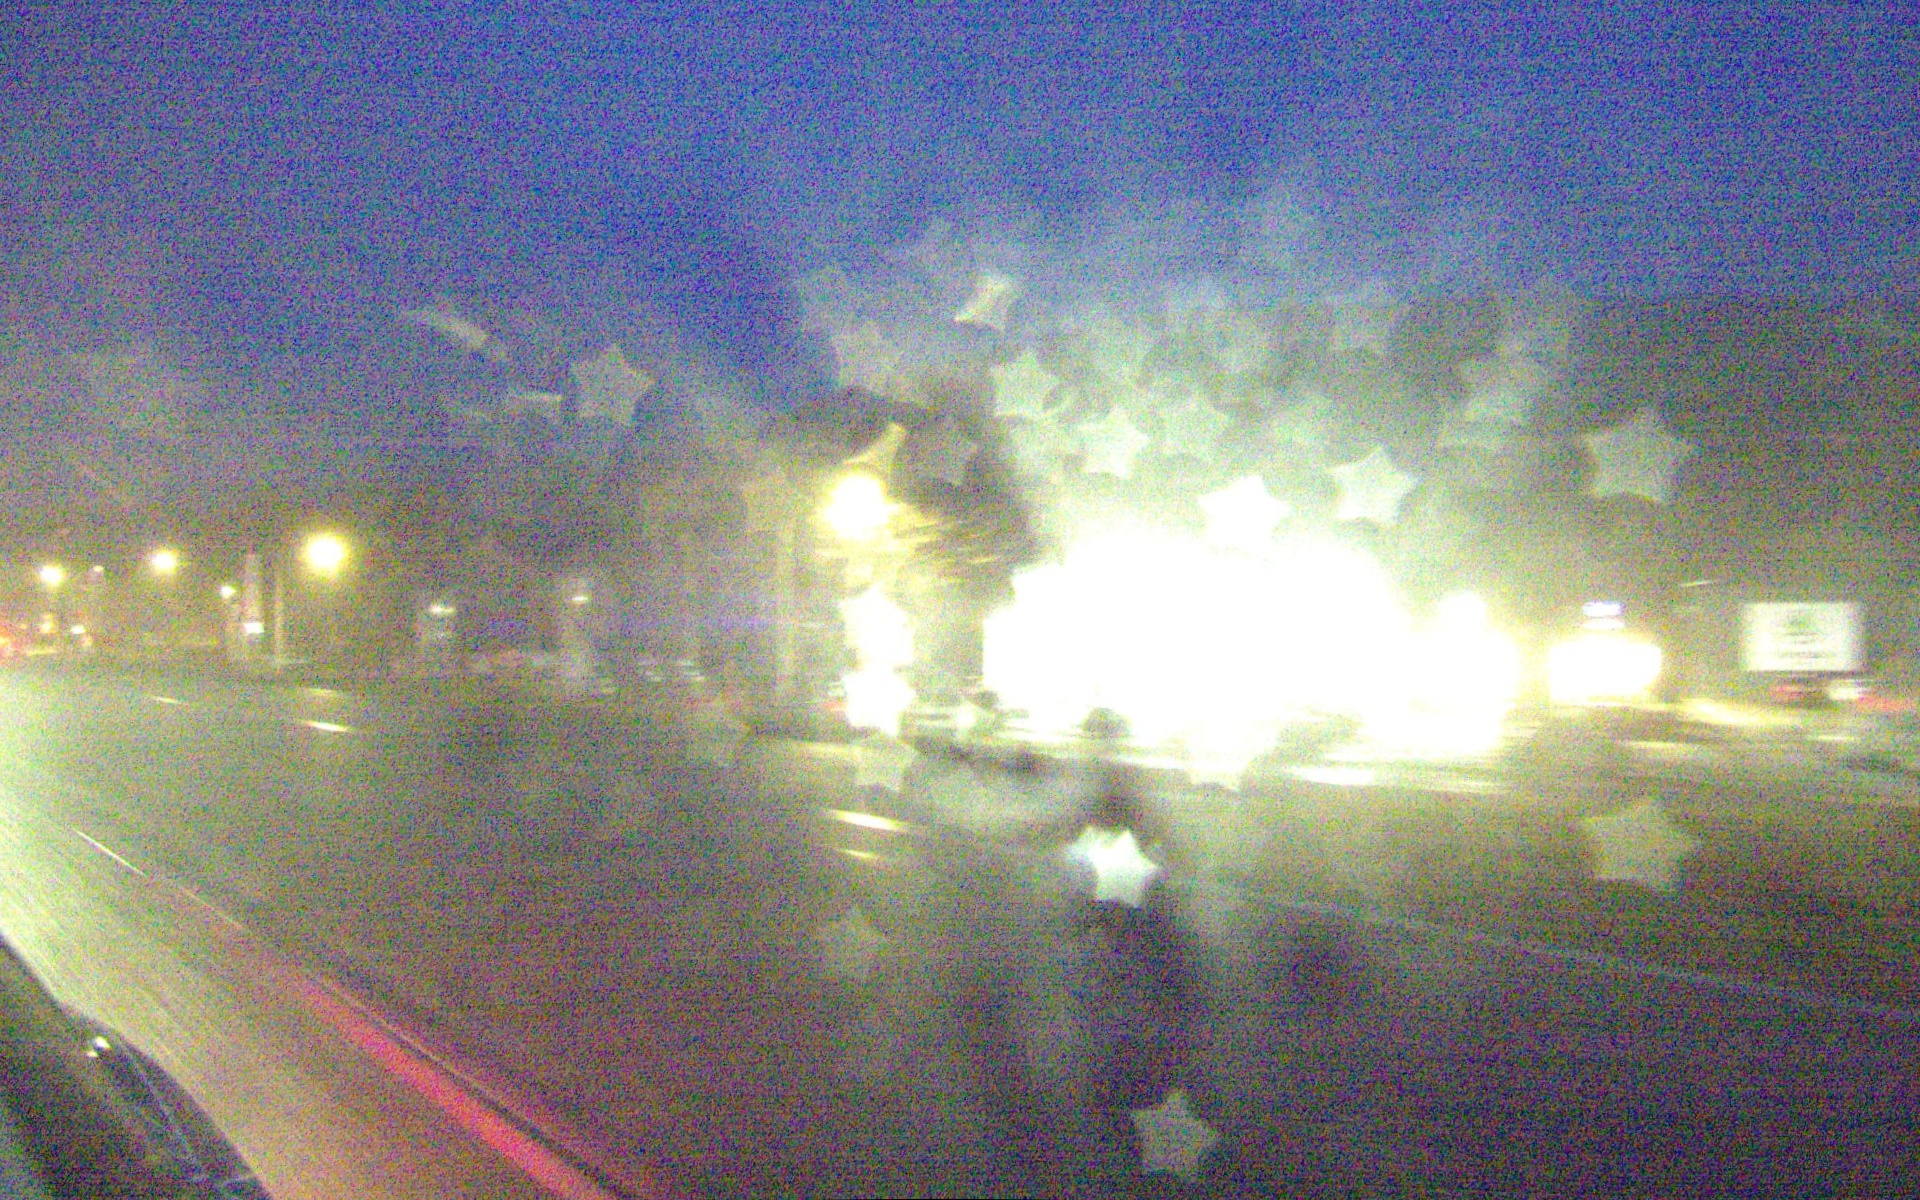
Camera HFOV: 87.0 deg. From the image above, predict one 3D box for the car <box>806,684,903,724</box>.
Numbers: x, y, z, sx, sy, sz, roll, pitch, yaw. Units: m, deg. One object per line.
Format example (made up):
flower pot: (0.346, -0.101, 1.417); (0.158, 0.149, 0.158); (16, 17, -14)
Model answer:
car: (-4.366, 4.367, 42.466); (1.907, 1.466, 3.953); (0, -6, 34)

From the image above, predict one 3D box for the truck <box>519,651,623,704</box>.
truck: (-26.224, 5.183, 68.101); (7.022, 3.121, 2.418); (0, -6, 30)

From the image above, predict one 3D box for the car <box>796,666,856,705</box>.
car: (-6.846, 4.372, 52.123); (1.978, 1.652, 3.988); (-1, -1, 9)

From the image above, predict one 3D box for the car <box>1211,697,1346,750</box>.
car: (11.235, 4.355, 35.897); (4.149, 1.579, 1.816); (2, -4, 1)

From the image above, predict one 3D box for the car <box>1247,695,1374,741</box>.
car: (14.014, 4.713, 40.626); (4.350, 1.579, 1.999); (2, -4, 1)

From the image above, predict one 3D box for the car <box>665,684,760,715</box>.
car: (-11.297, 4.602, 46.447); (1.843, 1.210, 3.953); (0, -6, 34)

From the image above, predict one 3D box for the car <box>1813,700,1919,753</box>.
car: (31.412, 4.274, 33.994); (3.988, 1.608, 1.757); (0, -6, 33)

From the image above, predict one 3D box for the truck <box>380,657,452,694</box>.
truck: (-42.190, 5.814, 78.417); (6.861, 2.538, 2.147); (-1, -6, 38)

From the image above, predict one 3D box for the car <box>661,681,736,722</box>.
car: (-13.941, 5.380, 53.921); (3.704, 1.921, 1.707); (-1, -1, 27)

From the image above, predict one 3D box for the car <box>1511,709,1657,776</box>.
car: (18.063, 4.079, 29.461); (3.500, 1.630, 1.733); (0, -5, 31)

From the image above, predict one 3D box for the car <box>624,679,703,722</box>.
car: (-15.037, 5.057, 51.261); (3.704, 1.921, 1.707); (-1, -1, 27)

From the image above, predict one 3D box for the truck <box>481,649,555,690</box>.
truck: (-37.085, 5.769, 84.849); (6.675, 3.068, 2.151); (0, -6, 33)

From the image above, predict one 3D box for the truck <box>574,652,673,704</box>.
truck: (-24.005, 5.519, 72.163); (7.022, 3.285, 2.418); (0, -6, 30)

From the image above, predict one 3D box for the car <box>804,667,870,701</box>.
car: (-7.956, 5.419, 65.450); (3.977, 2.029, 1.724); (-1, -1, 25)

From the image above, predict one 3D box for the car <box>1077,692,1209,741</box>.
car: (7.079, 4.466, 39.037); (4.811, 1.579, 1.989); (1, -4, 16)

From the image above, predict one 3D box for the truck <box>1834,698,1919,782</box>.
truck: (30.239, 4.385, 31.141); (4.804, 2.463, 1.757); (0, -6, 33)

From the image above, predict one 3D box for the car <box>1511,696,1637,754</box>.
car: (20.364, 4.117, 33.698); (3.500, 1.630, 1.733); (0, -5, 31)

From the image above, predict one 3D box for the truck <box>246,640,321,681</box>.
truck: (-47.538, 4.224, 71.079); (6.861, 2.538, 2.147); (-1, -6, 38)

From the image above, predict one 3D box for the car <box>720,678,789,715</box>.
car: (-11.905, 5.544, 58.676); (3.704, 1.921, 1.707); (-1, -1, 27)

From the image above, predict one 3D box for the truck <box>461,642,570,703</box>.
truck: (-28.249, 4.572, 64.247); (7.025, 3.506, 2.448); (0, -6, 31)

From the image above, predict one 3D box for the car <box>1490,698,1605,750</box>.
car: (21.041, 4.407, 36.333); (3.500, 1.630, 1.668); (0, -5, 31)

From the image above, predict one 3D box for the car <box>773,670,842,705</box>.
car: (-9.517, 5.441, 63.194); (3.977, 2.029, 1.724); (-1, -1, 25)

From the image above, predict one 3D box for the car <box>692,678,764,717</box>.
car: (-12.947, 5.390, 56.413); (3.704, 1.921, 1.707); (-1, -1, 27)

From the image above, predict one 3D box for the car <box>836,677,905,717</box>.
car: (-4.440, 4.826, 50.904); (1.985, 1.652, 3.974); (-1, -1, 19)

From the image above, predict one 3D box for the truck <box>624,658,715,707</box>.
truck: (-21.772, 6.153, 75.807); (6.540, 3.285, 2.418); (0, -6, 30)

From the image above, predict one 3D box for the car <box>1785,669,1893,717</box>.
car: (45.822, 4.792, 52.885); (4.159, 2.146, 1.973); (-1, -1, 40)

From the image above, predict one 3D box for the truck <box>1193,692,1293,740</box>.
truck: (14.303, 5.857, 51.157); (4.479, 2.135, 2.068); (0, -6, 31)

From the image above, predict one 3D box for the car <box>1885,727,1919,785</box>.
car: (29.054, 4.539, 28.622); (3.988, 1.608, 1.757); (0, -6, 33)

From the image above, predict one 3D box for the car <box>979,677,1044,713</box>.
car: (3.052, 5.563, 59.337); (1.995, 1.870, 3.953); (0, -6, 34)

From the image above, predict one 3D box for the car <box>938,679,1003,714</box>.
car: (0.660, 5.752, 60.362); (1.927, 1.870, 3.953); (0, -6, 34)
